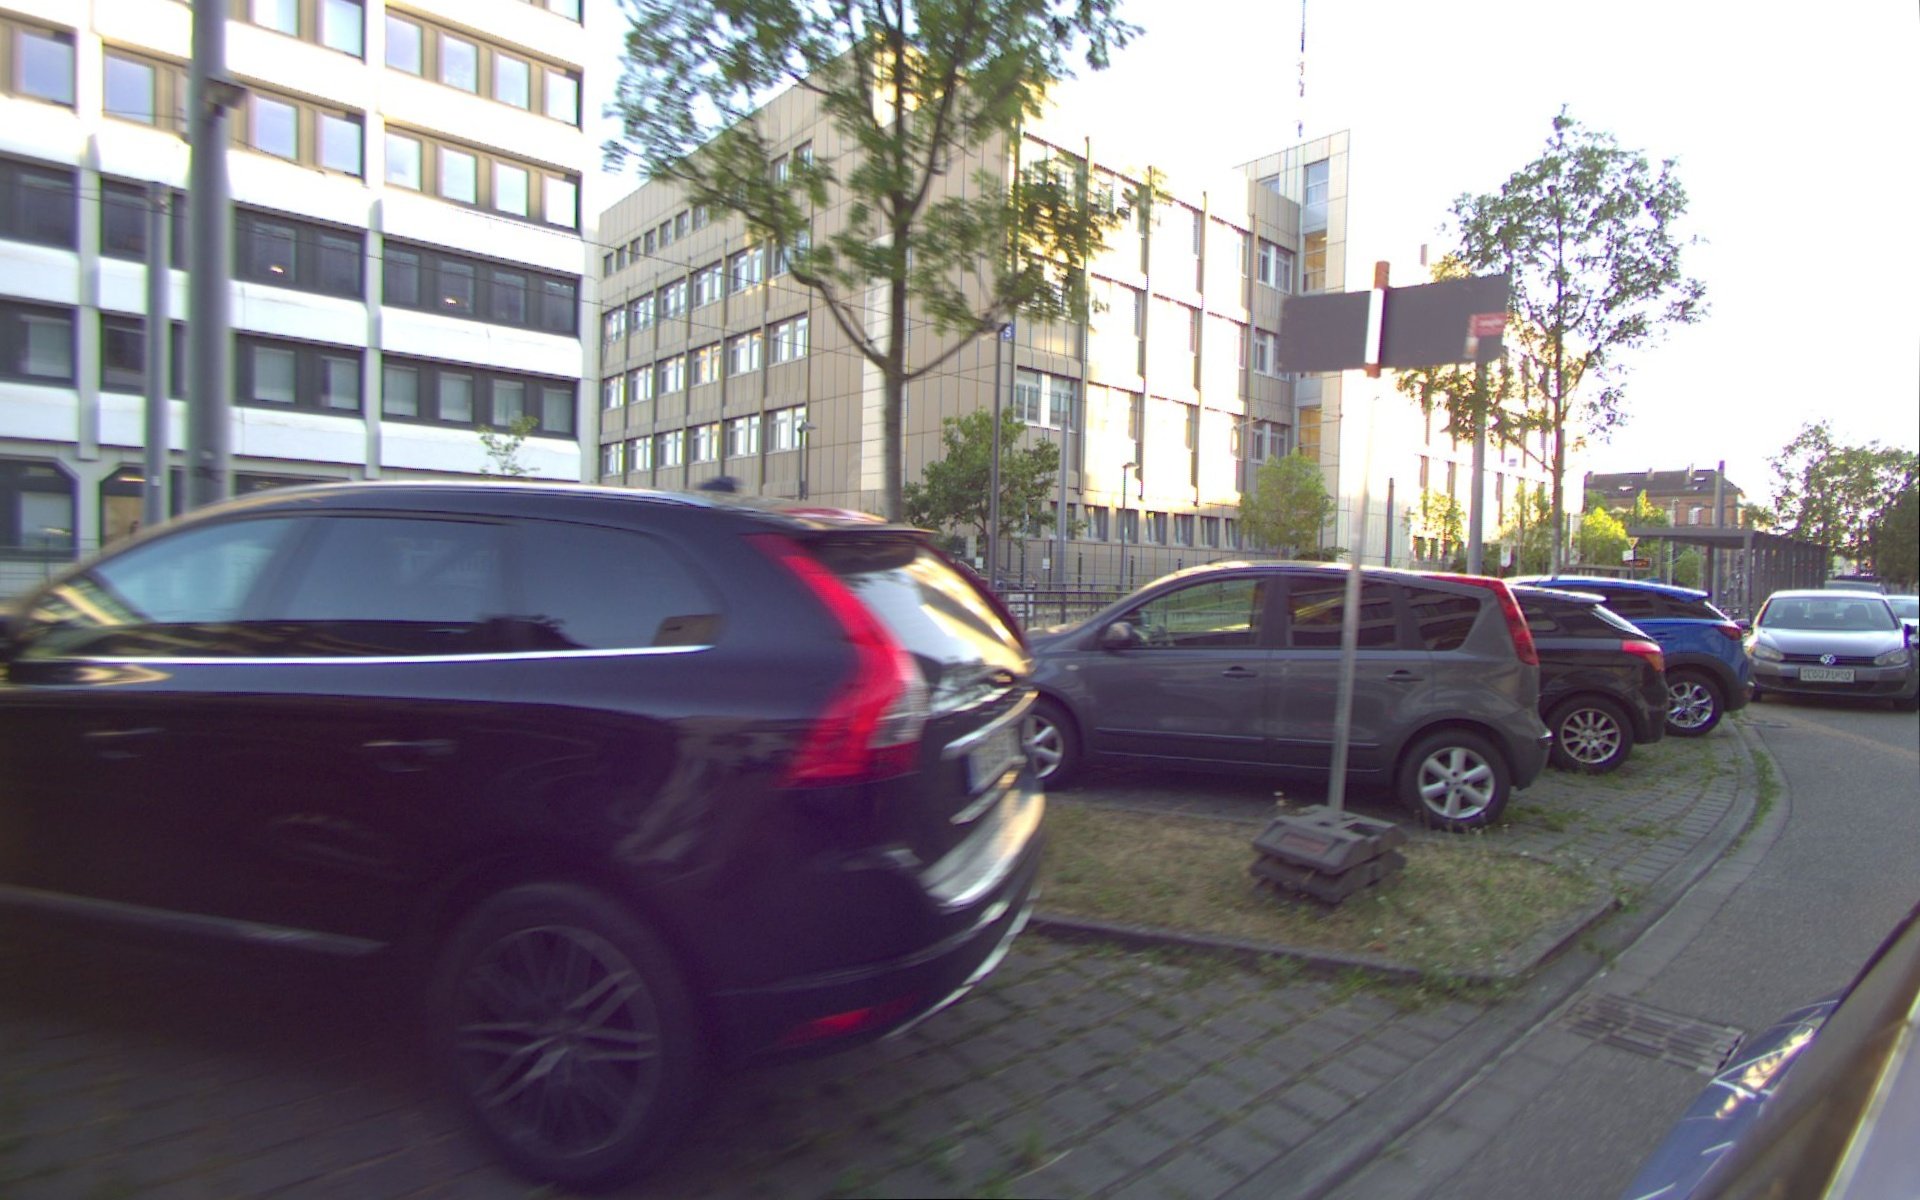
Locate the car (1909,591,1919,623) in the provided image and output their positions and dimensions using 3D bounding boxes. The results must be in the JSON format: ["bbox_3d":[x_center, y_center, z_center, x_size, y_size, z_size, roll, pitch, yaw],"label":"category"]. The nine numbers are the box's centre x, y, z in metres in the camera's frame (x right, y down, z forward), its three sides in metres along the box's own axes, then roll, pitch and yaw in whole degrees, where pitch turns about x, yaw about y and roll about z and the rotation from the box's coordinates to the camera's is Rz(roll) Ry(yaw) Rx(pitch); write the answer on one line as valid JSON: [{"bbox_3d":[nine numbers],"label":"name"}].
[{"bbox_3d":[49.155,0.415,50.667,4.696,1.514,1.801,0,5,-40],"label":"car"}]

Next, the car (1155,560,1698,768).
[{"bbox_3d":[3.721,0.439,8.807,3.937,1.483,1.732,1,2,11],"label":"car"}]

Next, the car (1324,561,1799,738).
[{"bbox_3d":[6.177,0.414,10.969,3.941,1.539,1.921,2,3,14],"label":"car"}]

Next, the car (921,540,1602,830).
[{"bbox_3d":[1.862,0.478,6.973,3.941,1.615,1.729,-1,0,14],"label":"car"}]

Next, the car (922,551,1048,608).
[{"bbox_3d":[0.713,-0.671,31.507,1.646,1.504,3.997,0,4,-40],"label":"car"}]

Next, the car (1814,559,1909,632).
[{"bbox_3d":[30.109,-0.171,33.764,4.655,2.203,1.807,0,4,-42],"label":"car"}]

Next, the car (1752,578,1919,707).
[{"bbox_3d":[11.877,0.465,13.704,1.728,1.484,3.943,0,1,39],"label":"car"}]

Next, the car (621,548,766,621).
[{"bbox_3d":[-6.662,-0.427,25.045,1.793,1.531,3.994,0,4,-42],"label":"car"}]

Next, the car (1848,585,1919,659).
[{"bbox_3d":[20.650,0.430,22.032,4.119,1.470,1.677,0,2,-45],"label":"car"}]

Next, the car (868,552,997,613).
[{"bbox_3d":[-0.873,-0.555,29.720,1.646,1.504,3.997,0,4,-40],"label":"car"}]

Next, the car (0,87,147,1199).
[{"bbox_3d":[-3.818,0.240,1.449,4.538,2.061,1.862,0,0,16],"label":"car"}]

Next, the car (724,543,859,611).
[{"bbox_3d":[-4.472,-0.633,26.426,1.646,1.504,3.997,0,4,-40],"label":"car"}]

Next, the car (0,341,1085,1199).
[{"bbox_3d":[-1.966,0.361,3.511,4.540,1.771,1.861,0,0,17],"label":"car"}]

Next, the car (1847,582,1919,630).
[{"bbox_3d":[34.593,0.186,37.643,4.400,1.599,1.712,0,4,-40],"label":"car"}]

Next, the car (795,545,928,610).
[{"bbox_3d":[-2.797,-0.664,28.019,1.646,1.504,3.997,0,4,-40],"label":"car"}]

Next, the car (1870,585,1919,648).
[{"bbox_3d":[24.409,0.398,25.609,4.442,1.470,1.788,0,2,-45],"label":"car"}]
